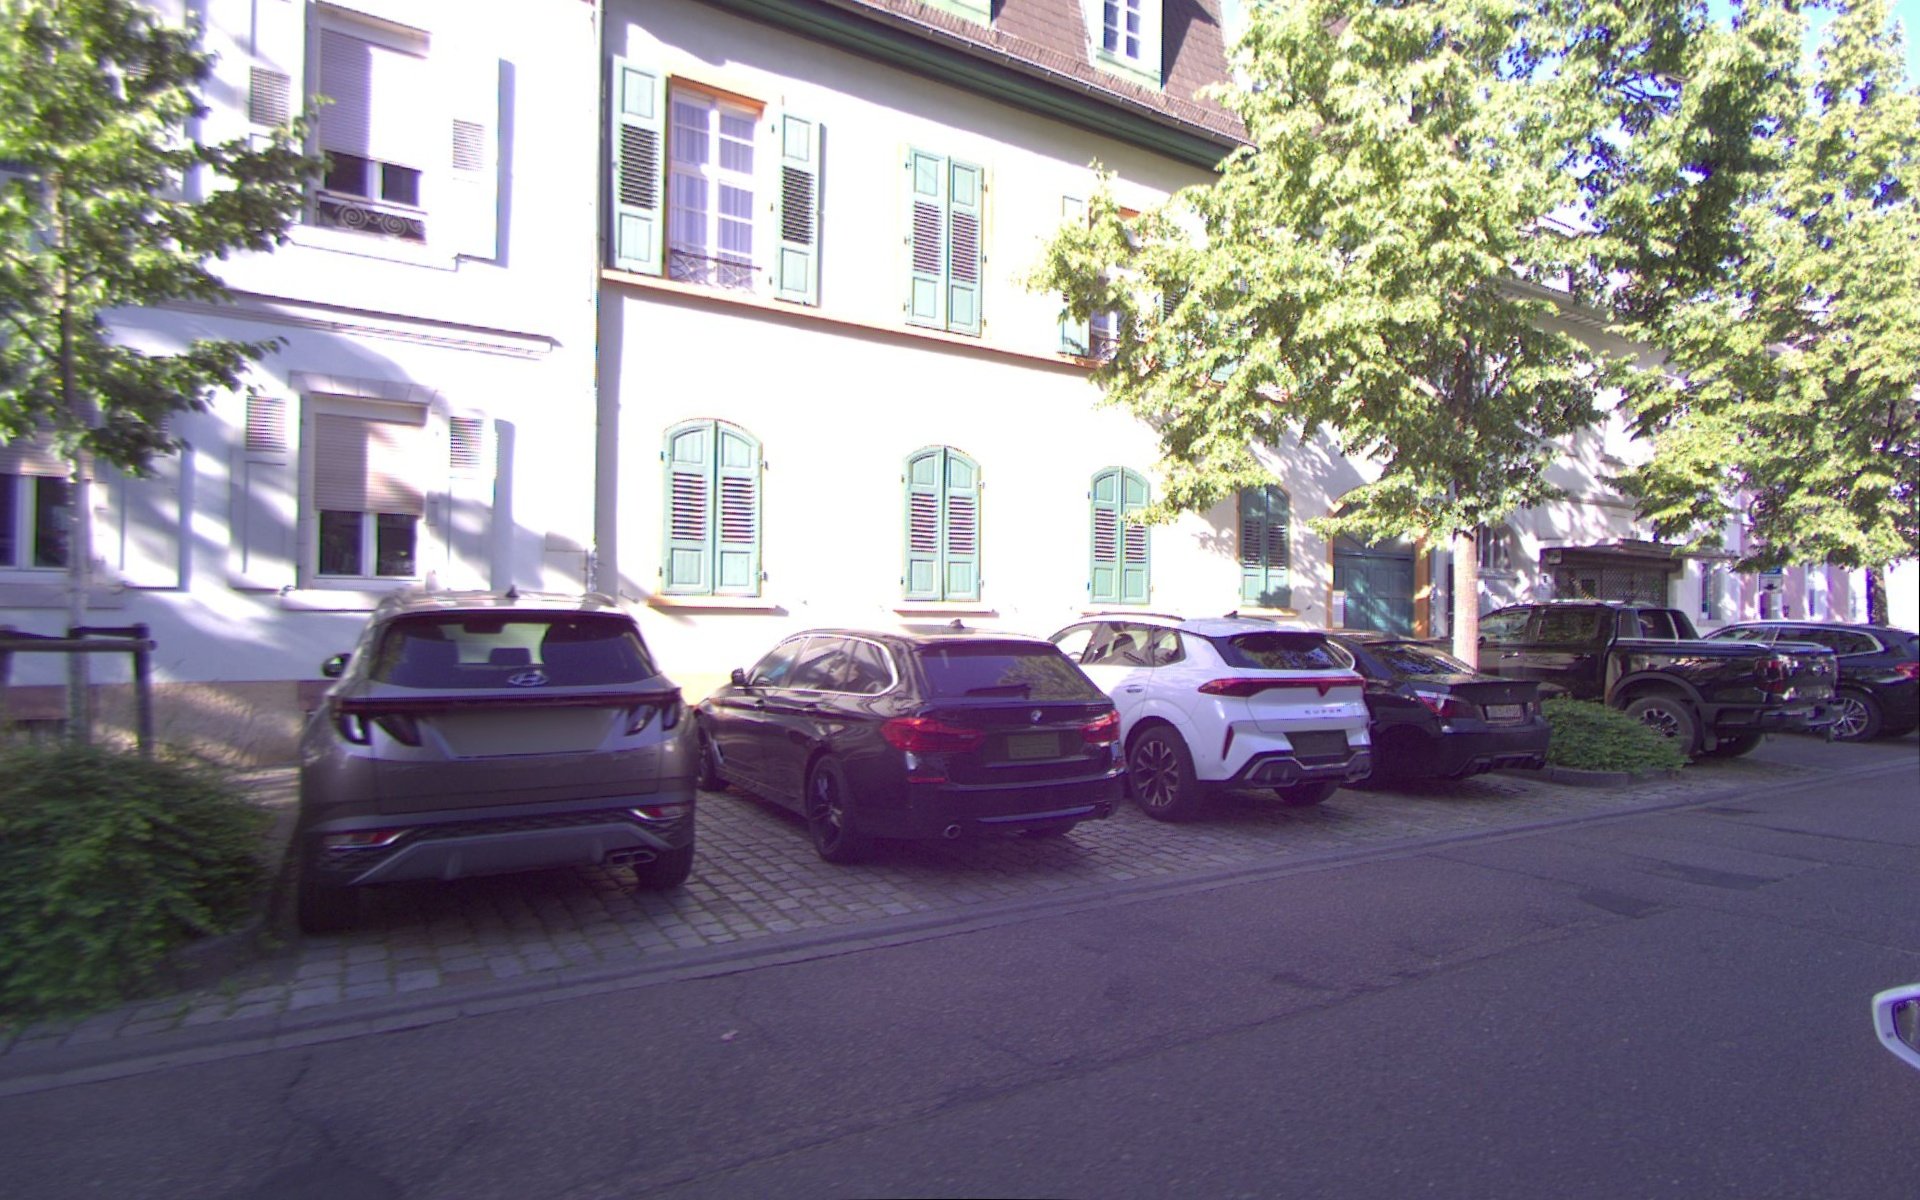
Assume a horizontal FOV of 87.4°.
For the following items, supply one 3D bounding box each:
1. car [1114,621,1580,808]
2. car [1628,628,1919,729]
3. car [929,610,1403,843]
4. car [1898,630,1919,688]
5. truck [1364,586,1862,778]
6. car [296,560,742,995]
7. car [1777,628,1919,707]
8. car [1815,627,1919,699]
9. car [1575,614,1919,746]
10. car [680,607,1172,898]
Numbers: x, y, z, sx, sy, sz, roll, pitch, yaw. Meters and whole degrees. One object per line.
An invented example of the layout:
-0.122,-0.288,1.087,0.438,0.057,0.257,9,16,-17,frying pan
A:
3.797,1.014,10.819,1.786,1.482,4.661,1,-1,-28,car
14.859,1.299,17.899,1.786,1.482,4.661,1,-1,-28,car
1.553,0.912,9.425,1.786,1.593,4.661,1,-1,-28,car
25.880,1.504,24.111,1.789,1.431,4.653,1,-1,-33,car
8.014,0.919,12.968,1.977,1.964,5.060,1,-2,-30,truck
-2.956,0.738,6.499,1.786,1.735,4.661,1,-1,-28,car
19.290,1.337,19.777,1.789,1.484,4.653,1,-1,-33,car
21.351,1.368,21.273,1.789,1.484,4.653,1,-1,-33,car
12.474,1.112,15.669,1.786,1.716,4.661,1,-1,-28,car
-0.637,0.843,7.815,1.787,1.539,4.656,1,-1,-31,car
